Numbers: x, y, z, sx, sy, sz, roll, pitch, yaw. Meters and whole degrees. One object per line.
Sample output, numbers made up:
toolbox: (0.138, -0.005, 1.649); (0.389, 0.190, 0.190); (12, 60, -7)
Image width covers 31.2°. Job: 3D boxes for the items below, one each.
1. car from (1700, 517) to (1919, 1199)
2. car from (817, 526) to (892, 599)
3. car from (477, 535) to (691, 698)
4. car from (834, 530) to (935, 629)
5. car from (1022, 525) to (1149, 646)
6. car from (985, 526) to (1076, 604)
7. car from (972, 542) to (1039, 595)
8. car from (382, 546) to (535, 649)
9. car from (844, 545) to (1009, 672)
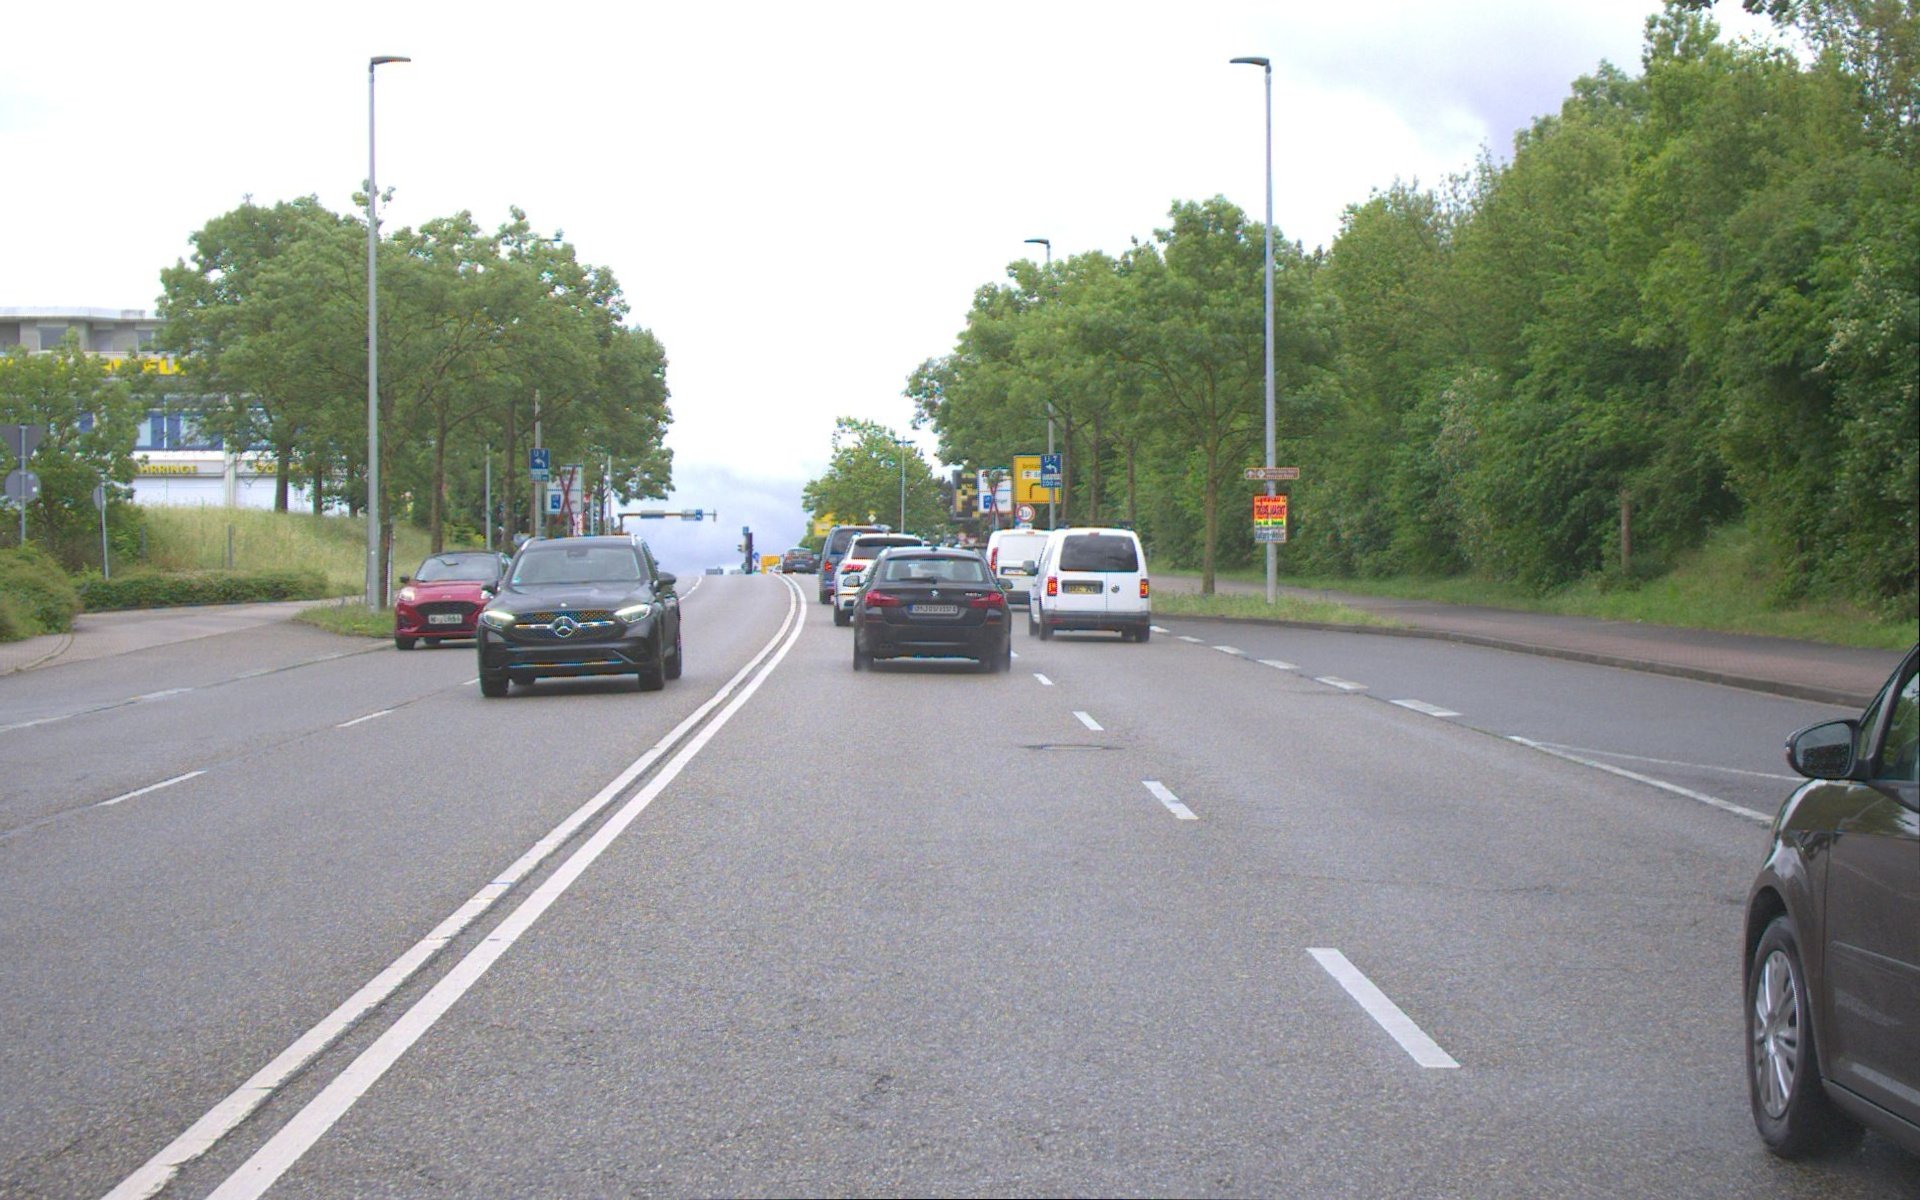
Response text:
car: (2.876, 0.633, 7.044); (1.714, 1.591, 4.131); (1, 1, -2)
car: (-2.533, -0.901, 82.463); (1.758, 1.702, 3.946); (0, 1, -2)
car: (-3.964, 0.127, 36.858); (1.858, 1.572, 4.321); (-2, 1, -1)
car: (-1.334, -0.391, 61.762); (1.728, 1.705, 3.382); (1, 1, -1)
car: (1.985, -0.257, 55.506); (1.741, 1.863, 3.946); (1, 1, -2)
car: (1.566, -0.797, 77.636); (1.814, 1.702, 3.946); (0, 1, -2)
car: (1.210, -0.864, 92.983); (1.600, 1.367, 3.680); (-1, 1, -2)
car: (-7.918, -0.068, 54.587); (1.676, 1.501, 4.216); (-2, 1, 1)
car: (-0.425, 0.067, 41.104); (1.855, 1.414, 3.957); (1, 1, -1)
